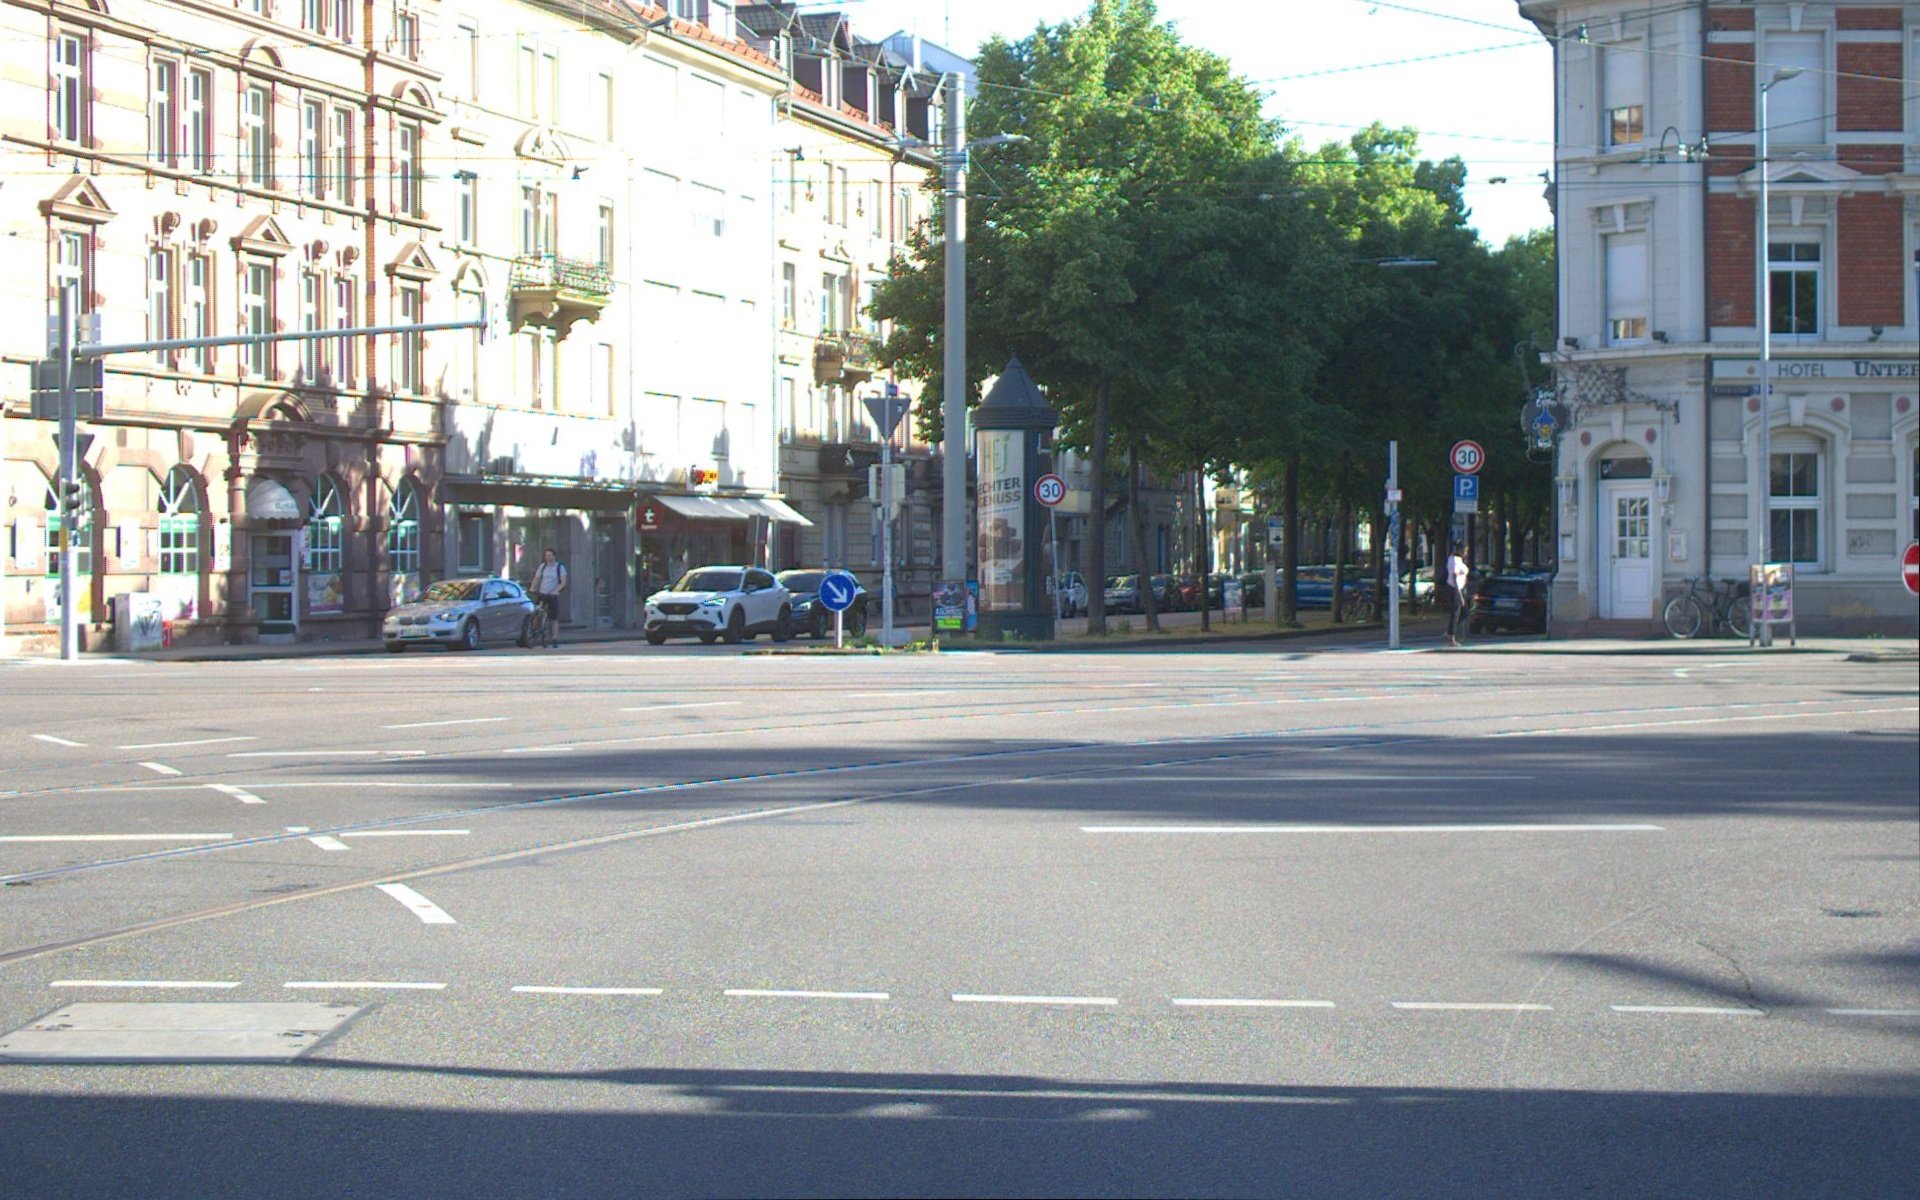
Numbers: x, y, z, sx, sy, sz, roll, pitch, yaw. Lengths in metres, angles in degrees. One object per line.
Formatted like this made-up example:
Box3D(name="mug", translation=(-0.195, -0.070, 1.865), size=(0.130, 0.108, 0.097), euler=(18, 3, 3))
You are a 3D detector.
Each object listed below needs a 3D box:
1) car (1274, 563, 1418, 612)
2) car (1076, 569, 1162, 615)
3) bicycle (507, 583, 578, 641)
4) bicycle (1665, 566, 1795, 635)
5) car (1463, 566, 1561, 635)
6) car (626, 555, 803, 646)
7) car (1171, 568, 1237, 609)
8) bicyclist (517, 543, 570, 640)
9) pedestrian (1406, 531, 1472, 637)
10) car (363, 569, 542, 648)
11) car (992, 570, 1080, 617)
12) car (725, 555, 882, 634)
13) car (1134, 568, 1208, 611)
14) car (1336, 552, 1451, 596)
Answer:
Box3D(name="car", translation=(12.947, -0.437, 115.343), size=(4.382, 1.606, 1.997), euler=(0, 1, 27))
Box3D(name="car", translation=(5.702, -0.299, 122.683), size=(1.995, 1.607, 4.387), euler=(0, 1, 17))
Box3D(name="bicycle", translation=(-7.889, 0.216, 65.029), size=(0.680, 1.062, 2.124), euler=(0, 1, 12))
Box3D(name="bicycle", translation=(12.857, 0.007, 57.409), size=(2.085, 1.120, 0.367), euler=(1, 0, -4))
Box3D(name="car", translation=(13.267, -0.013, 82.460), size=(1.995, 1.579, 3.998), euler=(0, 1, 14))
Box3D(name="car", translation=(-4.765, -0.019, 67.343), size=(1.995, 1.678, 4.387), euler=(0, 1, 17))
Box3D(name="car", translation=(9.694, -0.468, 136.351), size=(1.766, 1.544, 4.387), euler=(0, 1, 16))
Box3D(name="bicyclist", translation=(-7.879, -0.164, 65.065), size=(0.679, 1.814, 1.070), euler=(0, 1, 12))
Box3D(name="pedestrian", translation=(7.966, -0.272, 57.190), size=(1.046, 1.738, 0.808), euler=(0, 1, 6))
Box3D(name="car", translation=(-9.853, 0.147, 67.068), size=(1.900, 1.450, 3.997), euler=(0, 1, 17))
Box3D(name="car", translation=(2.483, -0.223, 110.982), size=(1.995, 1.481, 3.998), euler=(0, 1, 14))
Box3D(name="car", translation=(-3.319, -0.137, 73.857), size=(1.995, 1.606, 4.387), euler=(0, 1, 17))
Box3D(name="car", translation=(8.028, -0.418, 130.473), size=(1.839, 1.547, 4.387), euler=(0, 1, 17))
Box3D(name="car", translation=(16.856, -1.014, 133.644), size=(3.993, 1.700, 1.997), euler=(0, 1, 30))
